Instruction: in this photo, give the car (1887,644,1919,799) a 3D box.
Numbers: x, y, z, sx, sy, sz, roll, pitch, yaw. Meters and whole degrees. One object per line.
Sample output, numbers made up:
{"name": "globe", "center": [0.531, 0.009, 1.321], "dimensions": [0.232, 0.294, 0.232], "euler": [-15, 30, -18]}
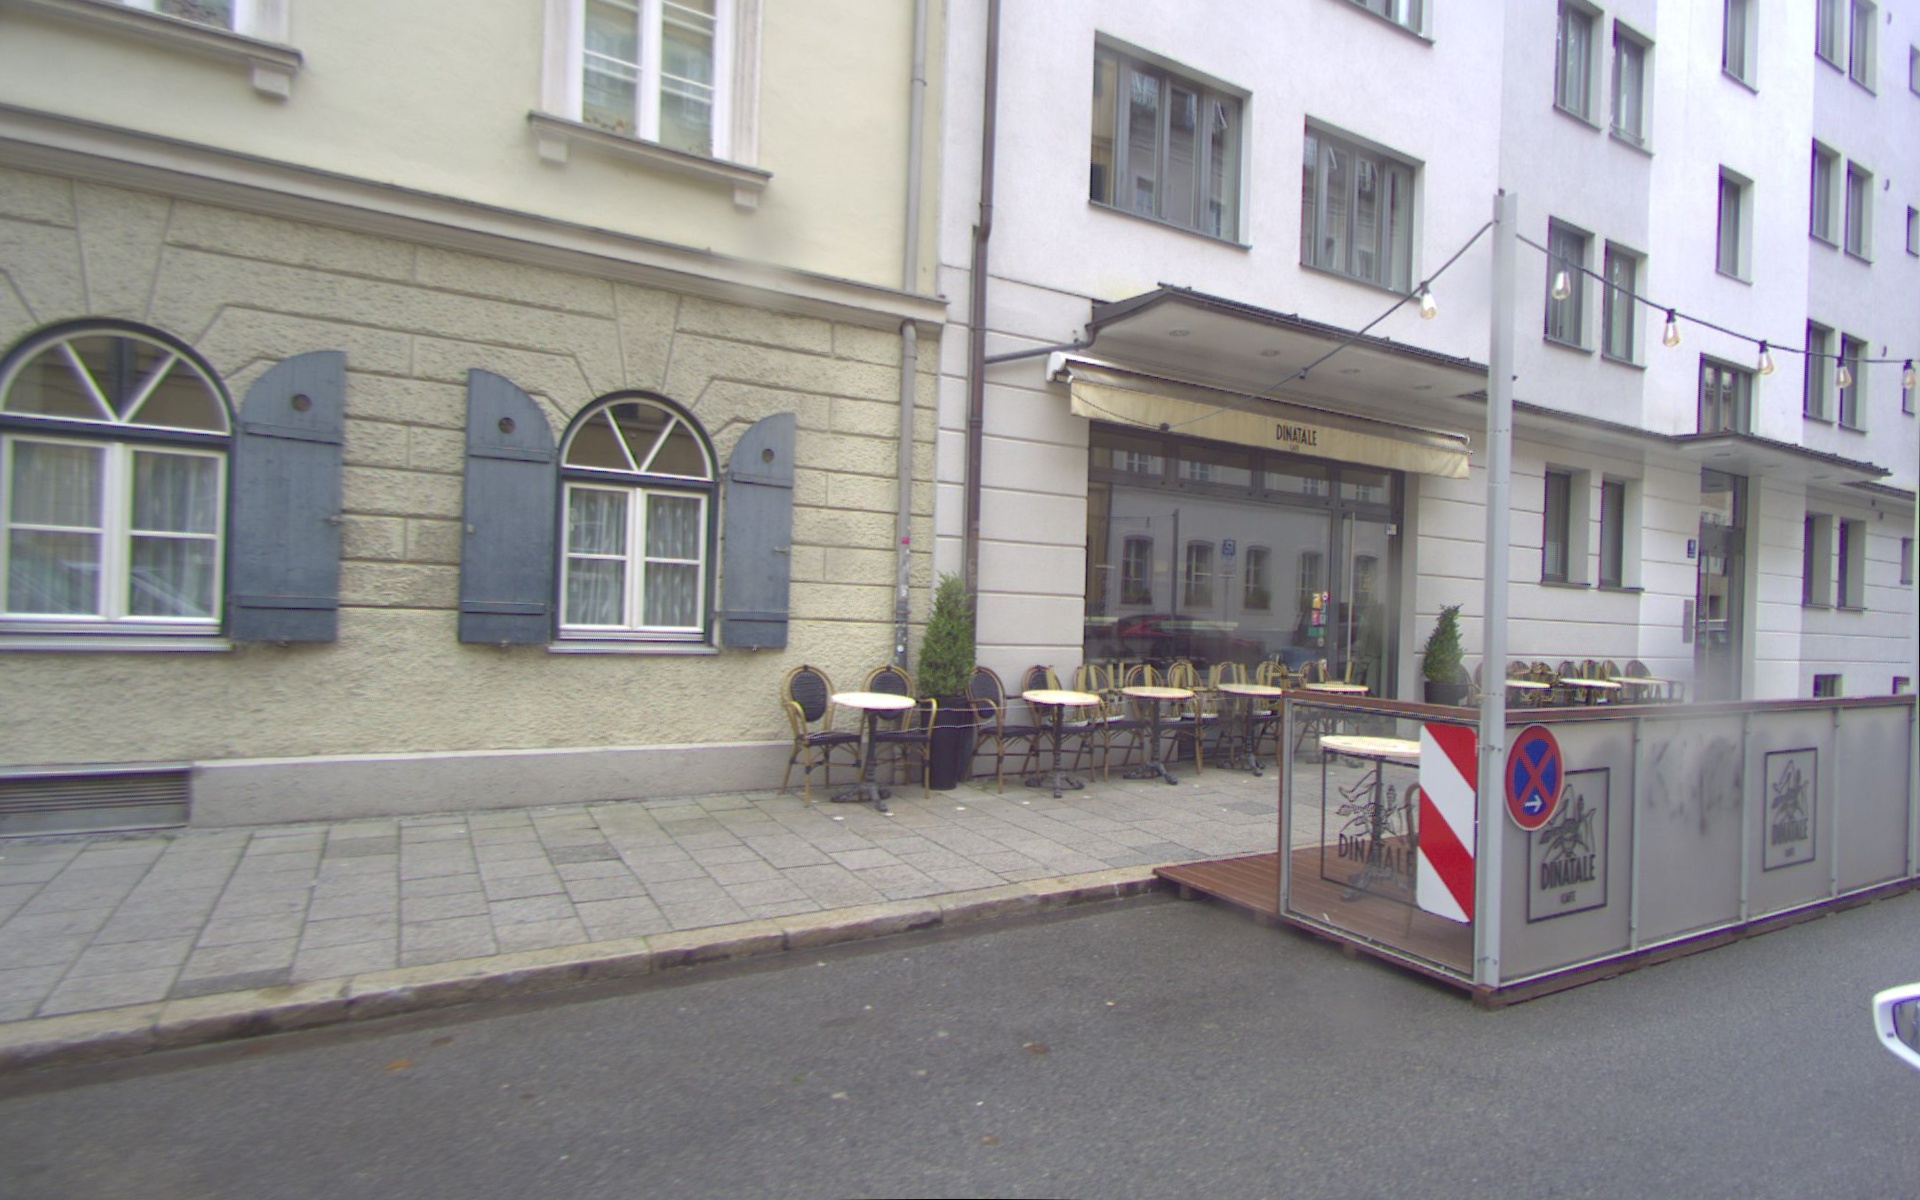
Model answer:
{"name": "car", "center": [10.513, 1.121, 9.633], "dimensions": [4.019, 1.372, 1.628], "euler": [2, -2, -36]}
